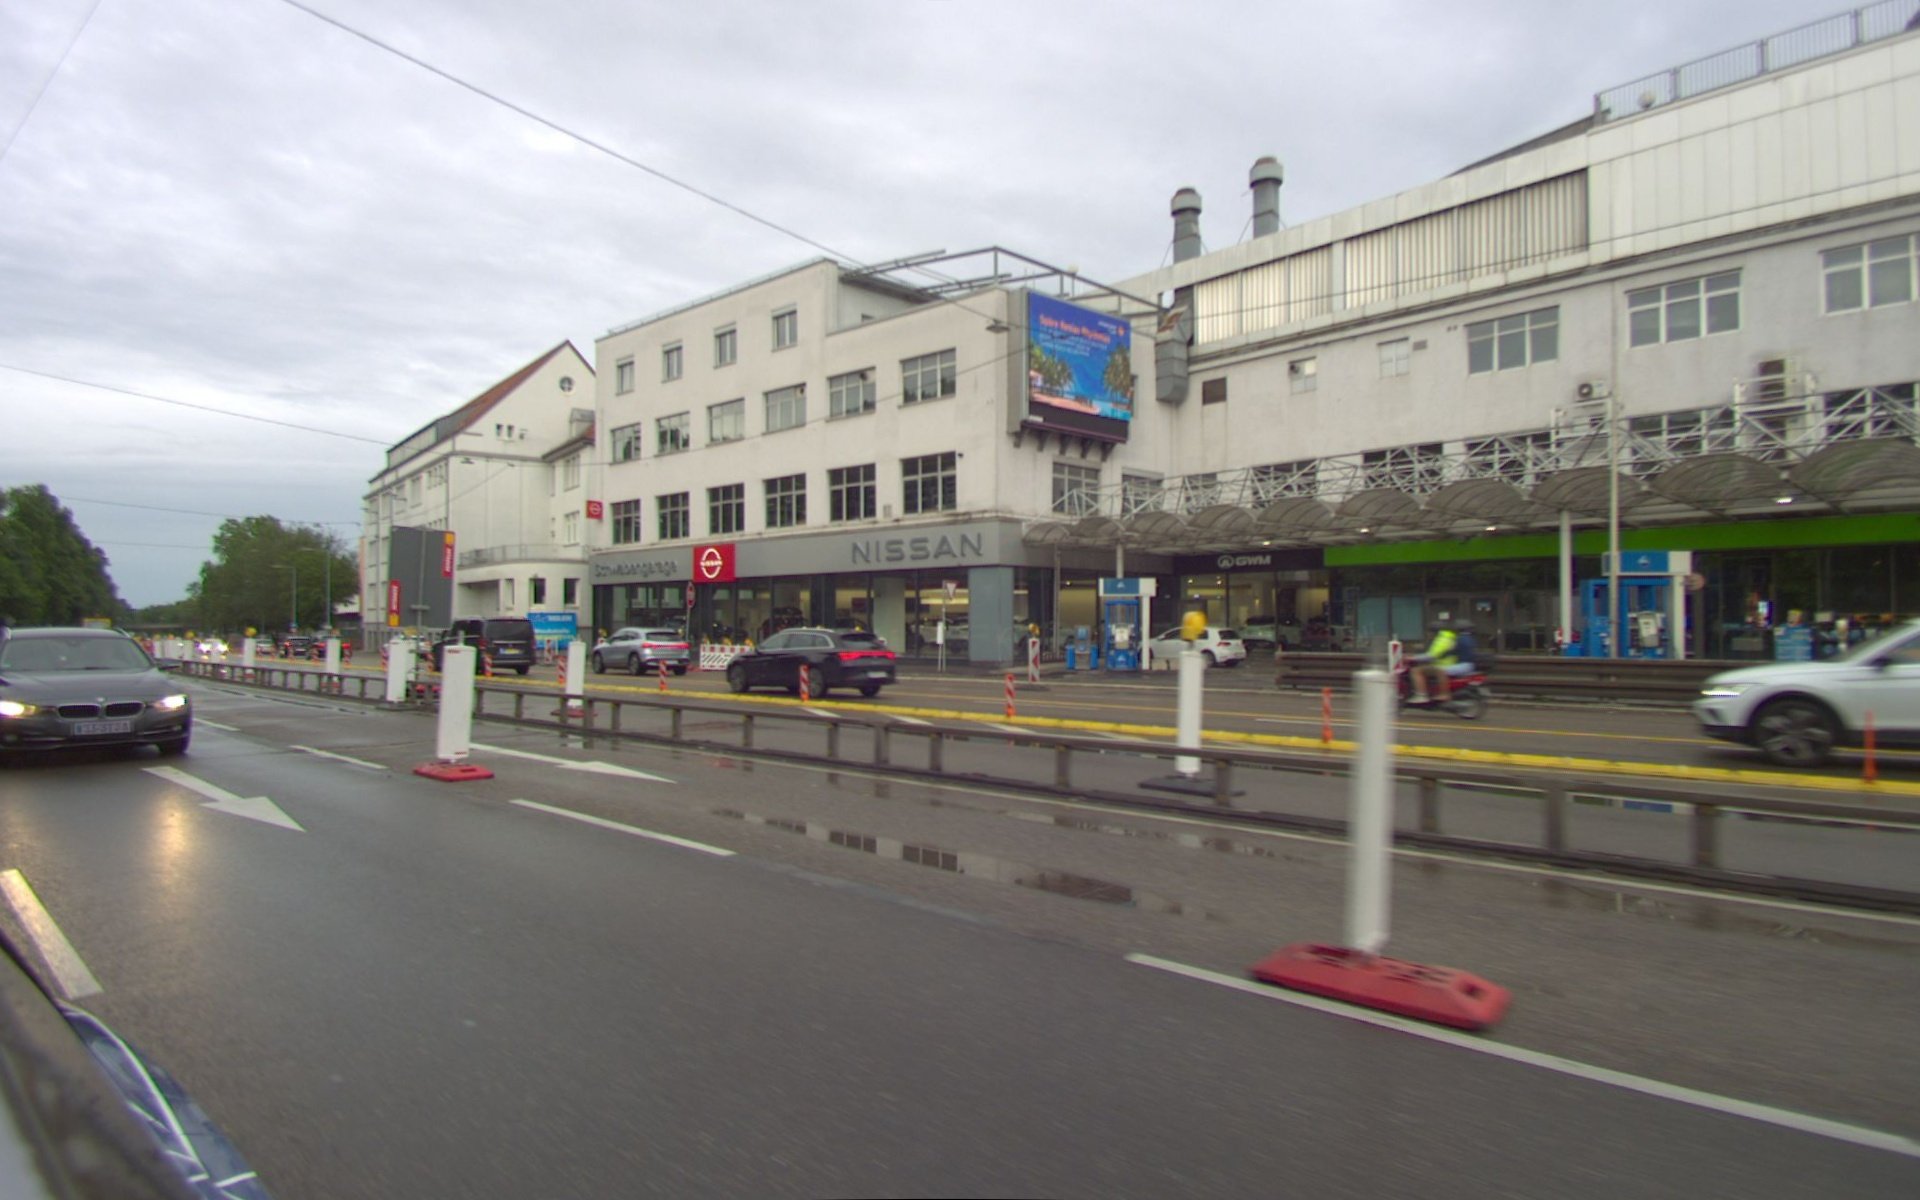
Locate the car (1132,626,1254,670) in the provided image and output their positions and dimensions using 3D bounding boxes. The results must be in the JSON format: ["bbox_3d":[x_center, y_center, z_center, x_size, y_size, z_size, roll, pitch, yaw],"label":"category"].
[{"bbox_3d":[8.414,1.723,36.744,3.968,1.494,1.793,-2,-3,43],"label":"car"}]

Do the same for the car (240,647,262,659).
[{"bbox_3d":[-93.616,7.007,133.569,1.968,1.597,4.217,2,-4,-40],"label":"car"}]

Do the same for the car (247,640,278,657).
[{"bbox_3d":[-61.828,4.283,89.705,1.680,1.475,4.123,4,-5,-41],"label":"car"}]

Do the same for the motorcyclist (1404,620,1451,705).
[{"bbox_3d":[7.802,1.038,16.890,0.561,1.374,0.582,-3,-4,41],"label":"motorcyclist"}]

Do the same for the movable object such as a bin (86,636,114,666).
[{"bbox_3d":[-59.532,3.531,70.020,1.379,2.060,4.091,2,-4,-41],"label":"movable object such as a bin"}]

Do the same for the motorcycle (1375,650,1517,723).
[{"bbox_3d":[7.996,1.397,16.713,2.027,1.111,0.572,-2,-3,42],"label":"motorcycle"}]

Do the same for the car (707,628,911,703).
[{"bbox_3d":[-3.398,1.361,22.162,4.705,1.477,1.831,-2,-3,42],"label":"car"}]

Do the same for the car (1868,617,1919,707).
[{"bbox_3d":[21.151,1.264,20.298,4.375,1.784,1.971,1,-3,-8],"label":"car"}]

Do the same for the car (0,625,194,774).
[{"bbox_3d":[-10.525,1.063,11.850,4.177,1.461,1.740,-3,-3,43],"label":"car"}]

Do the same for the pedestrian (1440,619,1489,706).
[{"bbox_3d":[8.237,1.013,16.516,0.561,1.374,0.582,-3,-4,41],"label":"pedestrian"}]

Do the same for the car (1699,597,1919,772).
[{"bbox_3d":[10.391,0.837,10.209,4.578,1.702,1.918,-2,-3,41],"label":"car"}]

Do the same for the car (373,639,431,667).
[{"bbox_3d":[-32.063,2.991,58.088,1.763,1.519,4.525,3,-3,-44],"label":"car"}]

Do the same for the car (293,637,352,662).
[{"bbox_3d":[-36.495,2.799,57.893,4.814,1.362,1.777,-2,-3,45],"label":"car"}]

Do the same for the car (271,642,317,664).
[{"bbox_3d":[-44.461,3.547,67.578,3.806,1.398,1.777,-2,-3,45],"label":"car"}]

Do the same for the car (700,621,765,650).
[{"bbox_3d":[-15.285,2.406,68.035,3.902,1.845,1.792,2,-3,-40],"label":"car"}]

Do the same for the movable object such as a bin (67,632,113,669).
[{"bbox_3d":[-51.960,3.027,60.464,1.969,2.128,3.855,2,-4,-41],"label":"movable object such as a bin"}]

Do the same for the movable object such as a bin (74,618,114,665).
[{"bbox_3d":[-55.029,2.668,64.309,1.799,2.935,3.612,3,-5,-41],"label":"movable object such as a bin"}]

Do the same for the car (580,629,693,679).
[{"bbox_3d":[-10.960,1.784,34.137,4.264,1.597,1.728,-2,-3,42],"label":"car"}]

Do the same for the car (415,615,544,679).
[{"bbox_3d":[-16.094,1.545,33.752,5.230,1.951,1.972,-2,-4,42],"label":"car"}]
